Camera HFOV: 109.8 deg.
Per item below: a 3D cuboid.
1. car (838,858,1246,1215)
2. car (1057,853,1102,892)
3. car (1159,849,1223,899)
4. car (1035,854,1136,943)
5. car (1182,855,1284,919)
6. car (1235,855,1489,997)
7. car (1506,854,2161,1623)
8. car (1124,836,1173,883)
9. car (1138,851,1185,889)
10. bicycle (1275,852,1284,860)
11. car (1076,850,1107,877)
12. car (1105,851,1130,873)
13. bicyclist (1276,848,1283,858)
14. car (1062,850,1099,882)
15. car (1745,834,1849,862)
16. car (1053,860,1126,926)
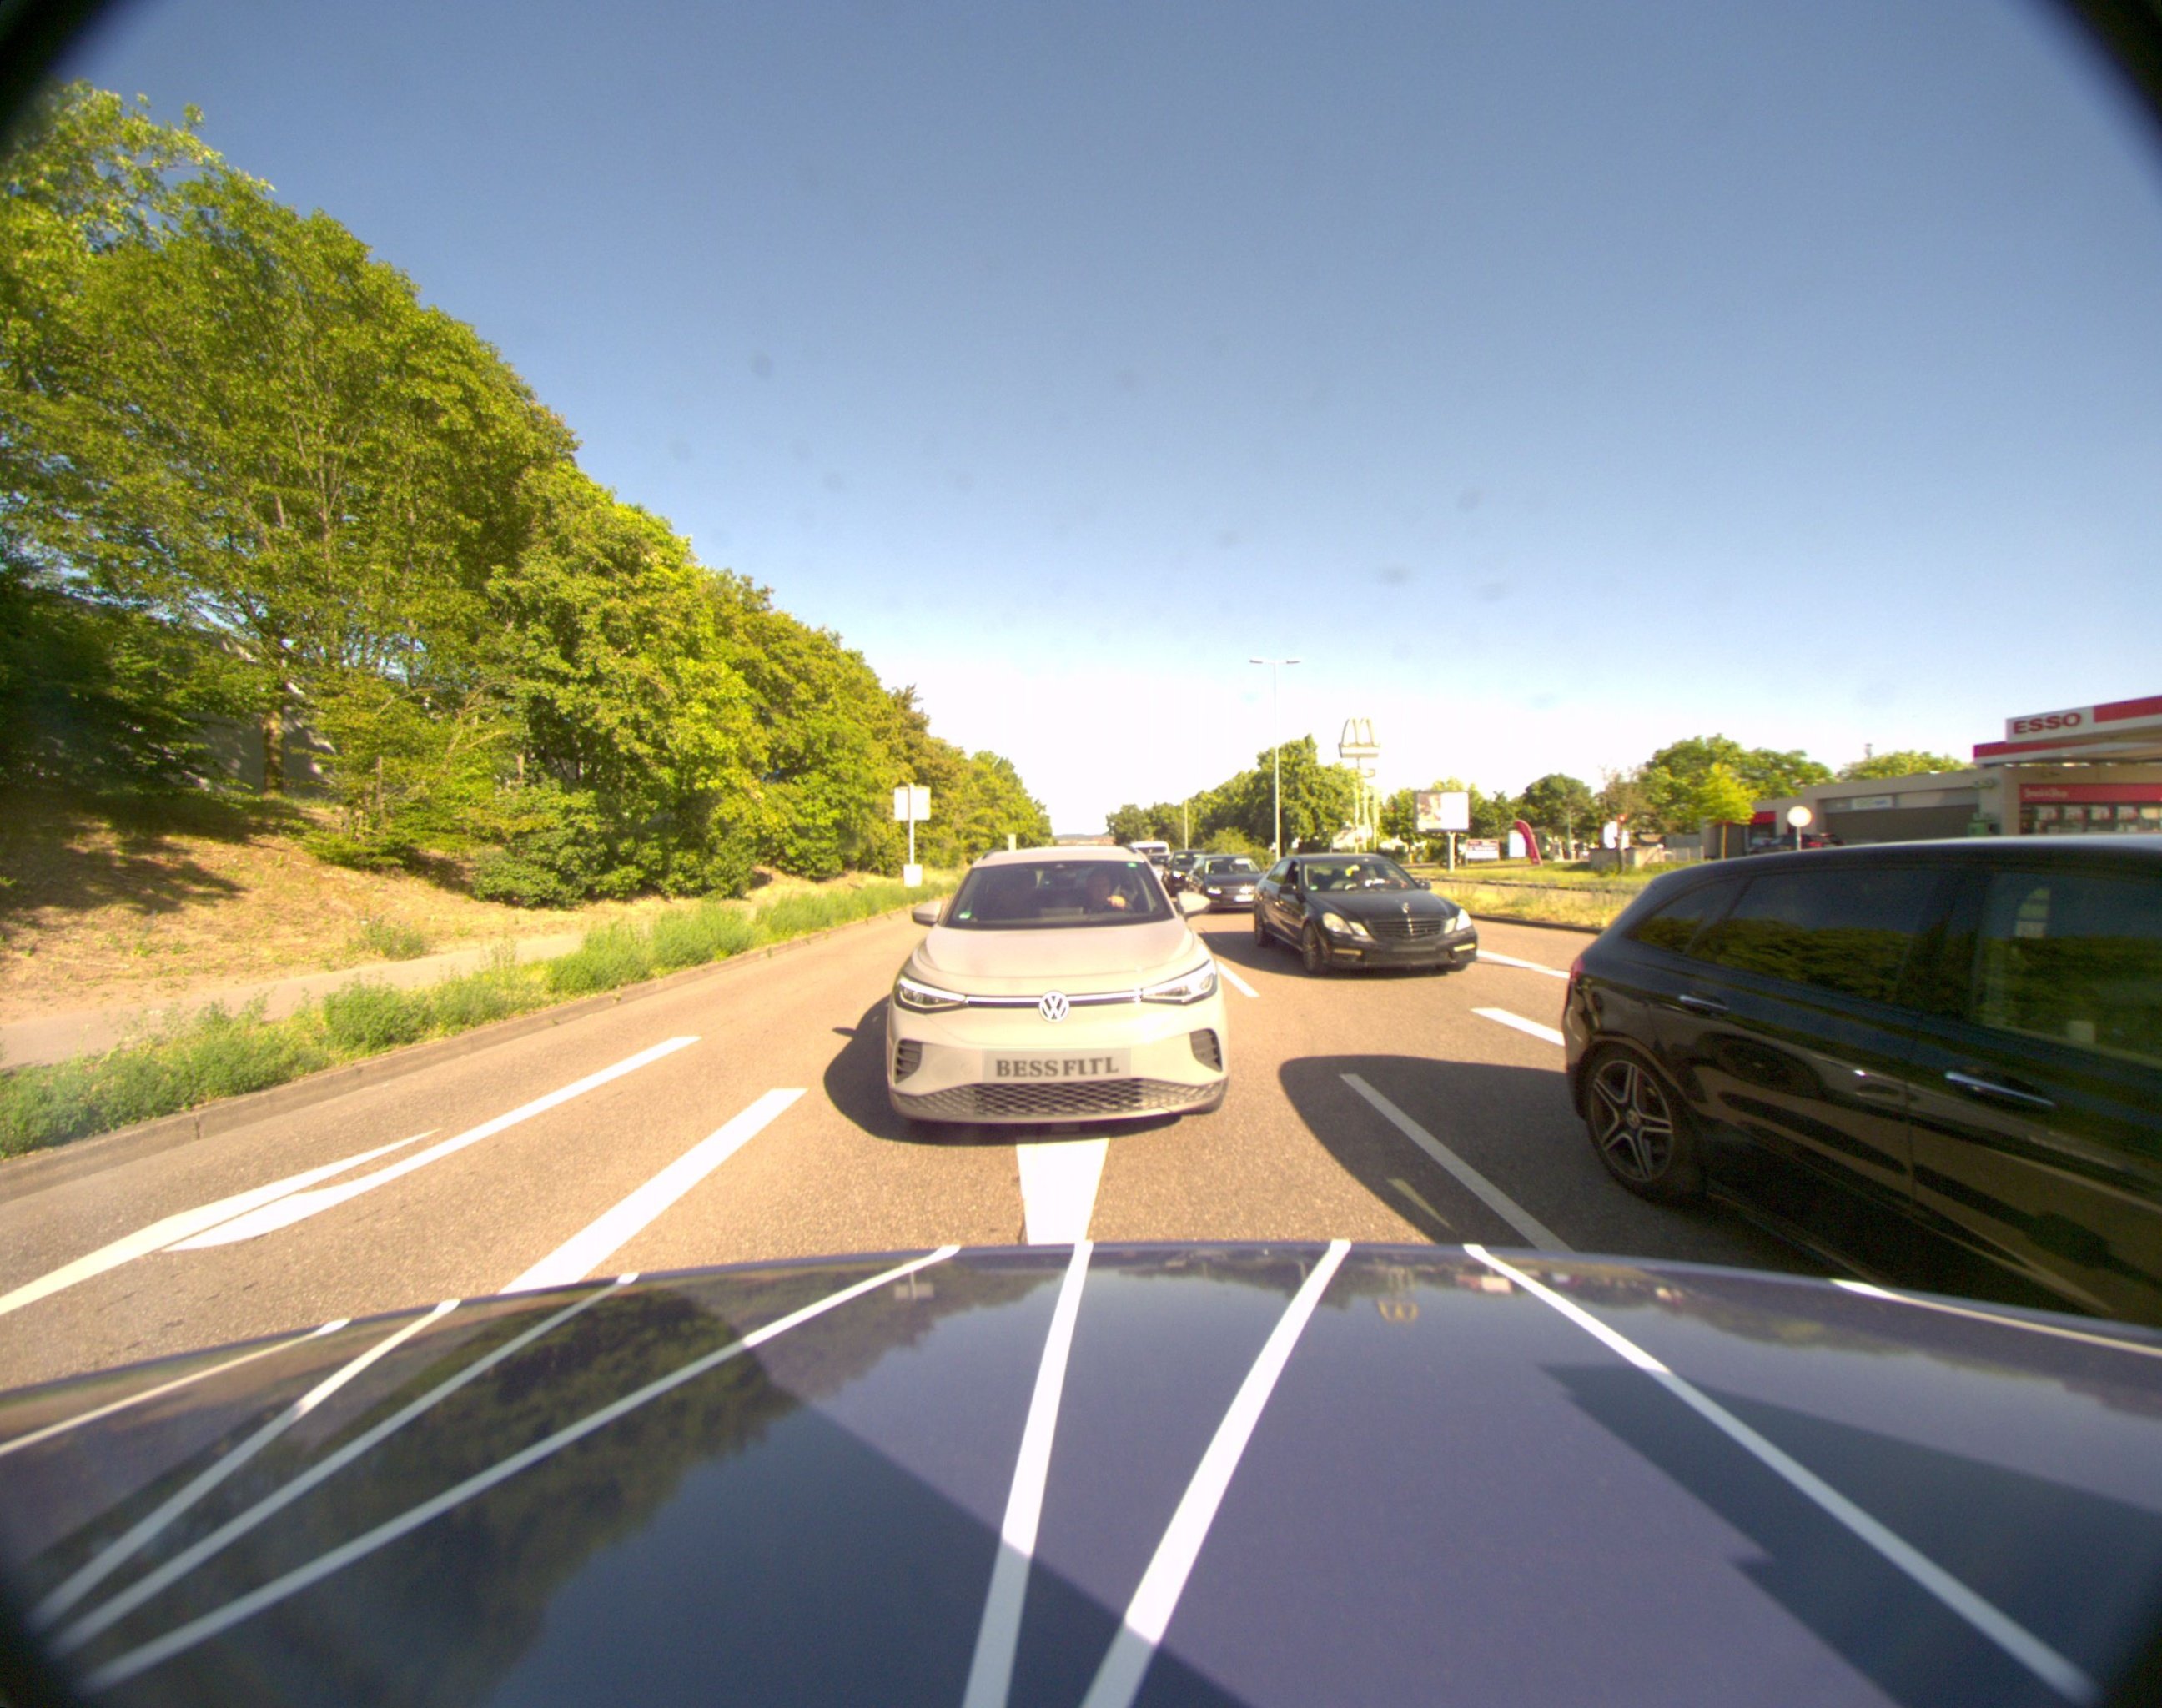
[{"bbox_3d":[-0.185,0.873,5.779,1.862,1.574,4.402,-2,0,0],"label":"car"},{"bbox_3d":[-0.083,0.737,33.100,1.763,1.482,4.402,-2,1,0],"label":"car"},{"bbox_3d":[3.908,0.664,27.563,1.674,1.608,3.878,-2,0,0],"label":"car"},{"bbox_3d":[0.068,0.794,15.862,1.763,1.482,4.402,-2,1,0],"label":"car"},{"bbox_3d":[3.901,0.795,20.253,1.797,1.419,4.286,-2,0,0],"label":"car"},{"bbox_3d":[3.551,0.801,10.587,1.868,1.430,4.402,-2,1,0],"label":"car"},{"bbox_3d":[3.071,0.803,1.674,1.763,1.482,4.402,-2,1,0],"label":"car"},{"bbox_3d":[3.649,0.262,42.176,2.019,2.349,6.523,-2,0,0],"label":"car"},{"bbox_3d":[3.569,0.682,34.195,1.635,1.547,3.777,-2,0,0],"label":"car"},{"bbox_3d":[25.212,0.237,96.446,0.629,0.863,1.741,-2,1,1],"label":"bicycle"},{"bbox_3d":[0.600,0.549,47.123,1.763,1.482,4.402,-2,1,0],"label":"car"},{"bbox_3d":[2.927,0.627,62.216,1.763,1.607,4.402,-2,1,0],"label":"car"},{"bbox_3d":[25.212,-0.159,96.490,0.629,1.281,0.700,-2,1,1],"label":"bicyclist"},{"bbox_3d":[-0.047,0.594,39.956,1.763,1.482,4.402,-2,1,0],"label":"car"},{"bbox_3d":[37.415,-0.326,39.852,1.682,1.401,3.978,1,1,0],"label":"car"},{"bbox_3d":[0.196,0.986,21.030,1.763,1.482,4.402,-2,1,0],"label":"car"}]
